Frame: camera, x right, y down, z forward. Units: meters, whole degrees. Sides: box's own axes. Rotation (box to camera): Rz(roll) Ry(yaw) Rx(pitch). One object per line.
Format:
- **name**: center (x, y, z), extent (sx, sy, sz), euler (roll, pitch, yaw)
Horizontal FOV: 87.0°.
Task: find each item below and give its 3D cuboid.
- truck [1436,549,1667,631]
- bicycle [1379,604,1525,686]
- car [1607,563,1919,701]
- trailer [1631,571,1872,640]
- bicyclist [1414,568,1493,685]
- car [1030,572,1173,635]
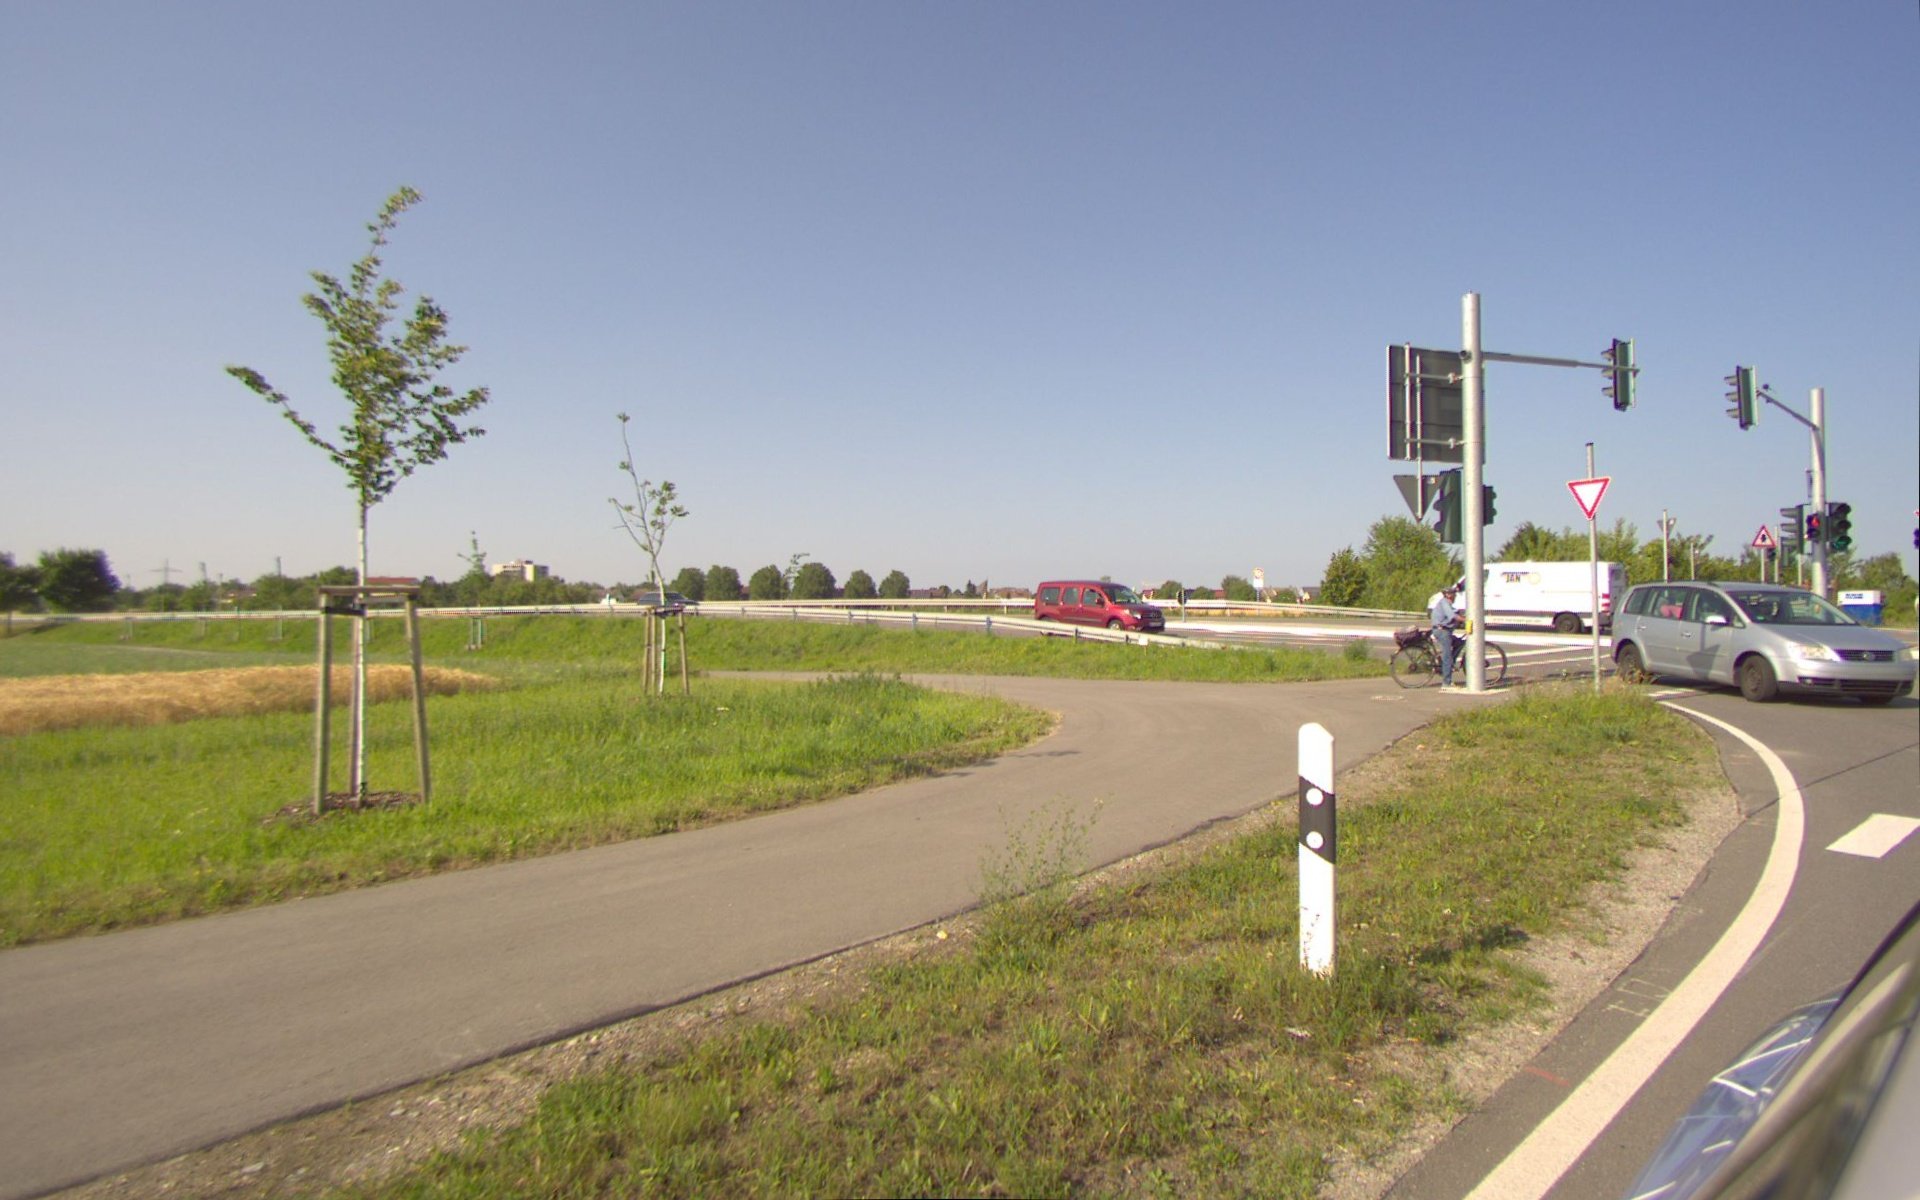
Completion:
- **truck**: center (19.121, -0.350, 33.031), extent (2.035, 2.435, 6.188), euler (0, 1, -41)
- **bicycle**: center (7.853, 0.721, 16.223), extent (1.913, 1.165, 0.680), euler (-3, 1, 9)
- **car**: center (11.575, 0.379, 14.696), extent (1.724, 1.716, 4.213), euler (0, 0, 2)
- **trailer**: center (22.139, 0.090, 28.541), extent (1.942, 1.759, 5.015), euler (0, 1, -33)
- **bicyclist**: center (7.898, 0.414, 16.228), extent (0.902, 1.787, 0.618), euler (-3, 1, 9)
- **car**: center (4.396, 0.109, 32.164), extent (1.663, 1.860, 4.695), euler (-1, 0, -37)
